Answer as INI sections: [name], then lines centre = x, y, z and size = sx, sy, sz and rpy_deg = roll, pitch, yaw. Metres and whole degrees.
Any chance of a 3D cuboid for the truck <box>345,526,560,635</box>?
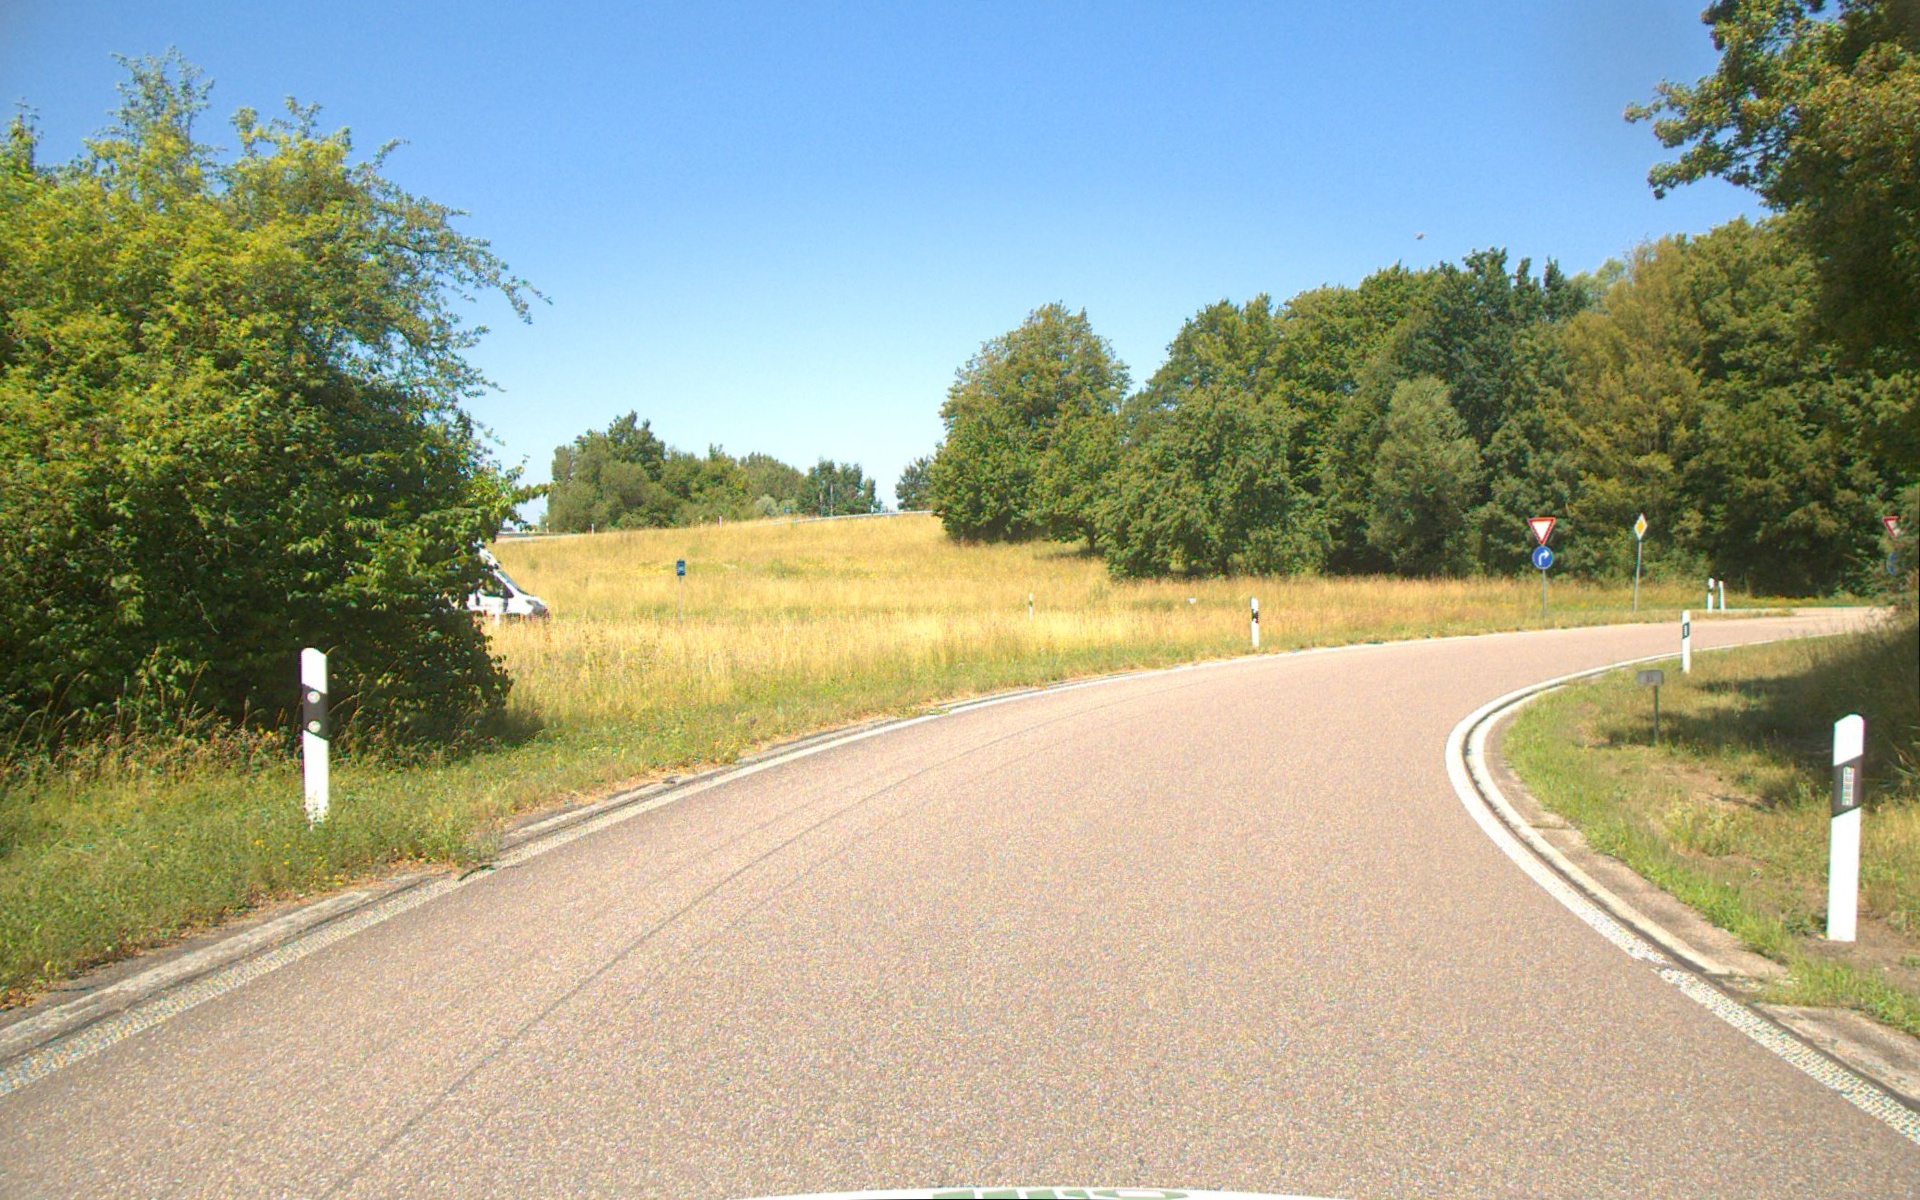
[truck]
centre = -14.716, -0.588, 48.369
size = 5.772, 3.037, 2.241
rpy_deg = -1, 0, -13
